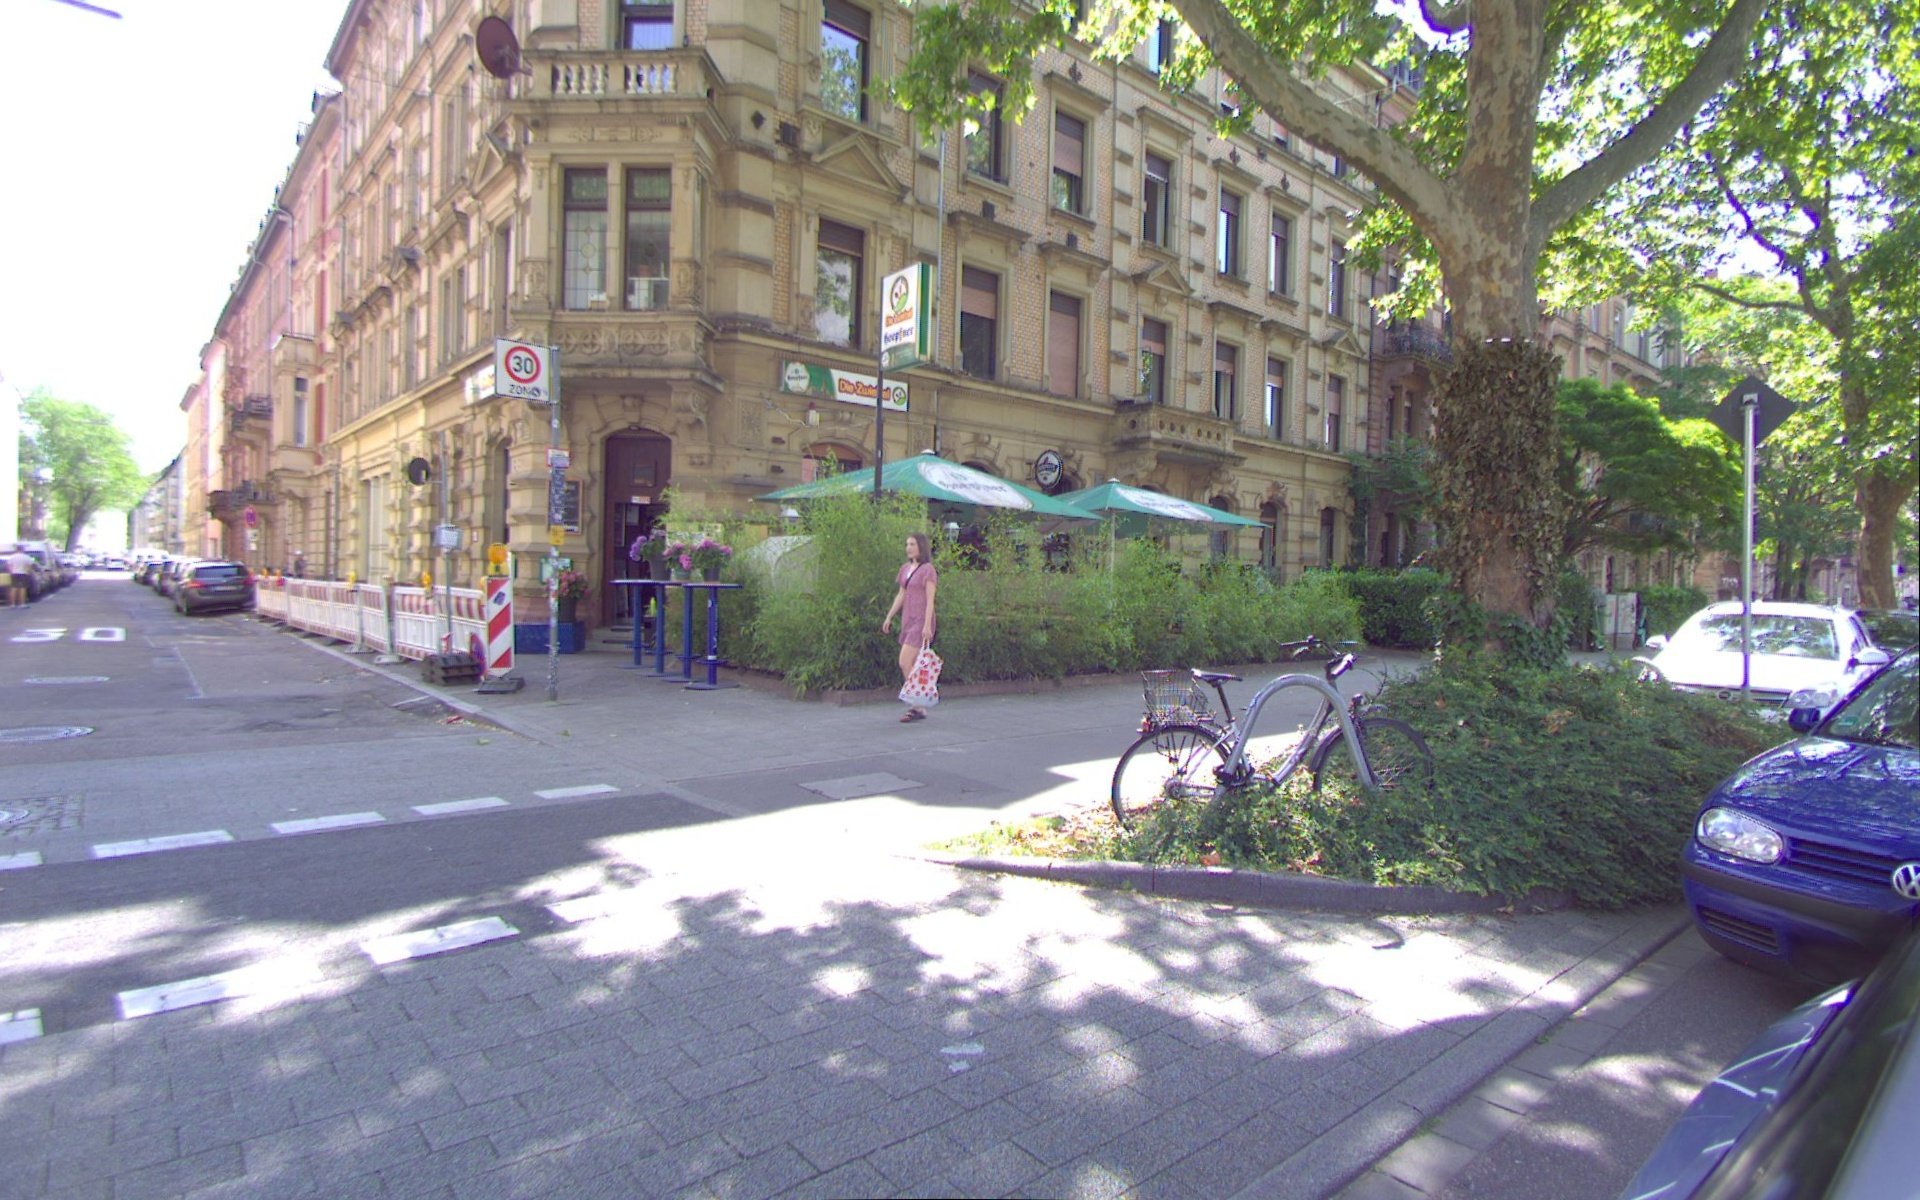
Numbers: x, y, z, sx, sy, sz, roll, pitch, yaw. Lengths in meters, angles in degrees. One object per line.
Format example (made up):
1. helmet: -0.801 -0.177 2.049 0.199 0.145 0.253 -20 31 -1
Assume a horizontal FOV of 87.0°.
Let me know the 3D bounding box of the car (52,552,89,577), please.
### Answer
1. car: -64.373 -2.582 73.312 1.879 1.731 4.157 0 1 -40

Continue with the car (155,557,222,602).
1. car: -31.943 -0.858 41.857 1.965 1.760 3.995 0 2 -41

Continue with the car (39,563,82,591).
1. car: -57.764 -1.501 65.035 1.879 1.731 4.159 0 1 -39

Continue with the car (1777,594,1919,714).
1. car: 14.046 0.726 15.263 4.561 1.526 1.837 0 2 -40

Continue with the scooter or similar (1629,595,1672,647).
1. scooter or similar: 18.011 0.539 26.383 1.124 1.298 0.583 1 1 -39

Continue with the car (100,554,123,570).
1. car: -96.205 -4.348 114.775 1.965 1.760 3.995 0 1 -41

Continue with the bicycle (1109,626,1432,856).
1. bicycle: 1.631 0.721 5.353 1.583 1.119 0.423 1 1 -10

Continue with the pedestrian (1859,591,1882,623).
1. pedestrian: 51.384 0.396 57.104 0.951 1.740 0.796 1 1 -41

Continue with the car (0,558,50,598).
1. car: -37.958 -0.919 40.914 1.698 1.548 3.490 0 1 -41

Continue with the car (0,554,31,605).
1. car: -30.543 -0.669 31.960 1.698 1.548 3.490 0 1 -41

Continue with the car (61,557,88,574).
1. car: -77.347 -3.009 88.415 1.641 1.419 3.357 0 1 -40

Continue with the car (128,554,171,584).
1. car: -50.933 -1.944 63.542 1.965 1.760 3.995 0 2 -41

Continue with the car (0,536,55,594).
1. car: -41.332 -1.549 44.658 1.879 2.403 4.244 0 1 -39

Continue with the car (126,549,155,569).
1. car: -75.725 -3.822 93.455 1.965 1.760 3.995 0 1 -41

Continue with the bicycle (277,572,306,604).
1. bicycle: -21.312 -0.393 32.257 0.530 0.991 1.307 1 1 -44

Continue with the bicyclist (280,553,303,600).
1. bicyclist: -21.308 -0.747 32.253 0.524 1.471 0.460 1 1 -43

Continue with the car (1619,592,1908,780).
1. car: 8.672 0.724 10.766 4.418 1.526 1.835 0 2 -44

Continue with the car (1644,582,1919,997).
1. car: 5.135 0.687 4.421 4.010 1.427 1.891 1 1 -28

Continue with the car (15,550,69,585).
1. car: -48.552 -1.722 53.579 1.879 1.731 4.159 0 1 -39

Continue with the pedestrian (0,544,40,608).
1. pedestrian: -27.361 -0.697 29.380 0.921 1.821 1.036 0 1 -44

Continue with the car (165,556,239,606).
1. car: -28.263 -0.741 37.696 1.965 1.760 3.995 0 2 -41

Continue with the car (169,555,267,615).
1. car: -21.339 -0.461 29.045 1.965 1.571 3.995 0 2 -41

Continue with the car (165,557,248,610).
1. car: -25.260 -0.591 33.872 1.965 1.660 3.995 0 2 -41

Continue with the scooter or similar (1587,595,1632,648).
1. scooter or similar: 15.890 0.512 24.749 1.124 1.263 0.583 1 1 -40

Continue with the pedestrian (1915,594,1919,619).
1. pedestrian: 68.771 0.489 72.207 0.951 1.740 0.796 1 1 -41

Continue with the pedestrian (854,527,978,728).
1. pedestrian: -0.424 0.230 9.655 0.837 1.807 0.738 1 3 -41

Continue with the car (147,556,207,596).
1. car: -36.184 -1.128 46.731 1.965 1.760 3.995 0 2 -41

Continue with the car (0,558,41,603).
1. car: -34.151 -0.717 36.288 1.698 1.548 3.490 0 1 -42
